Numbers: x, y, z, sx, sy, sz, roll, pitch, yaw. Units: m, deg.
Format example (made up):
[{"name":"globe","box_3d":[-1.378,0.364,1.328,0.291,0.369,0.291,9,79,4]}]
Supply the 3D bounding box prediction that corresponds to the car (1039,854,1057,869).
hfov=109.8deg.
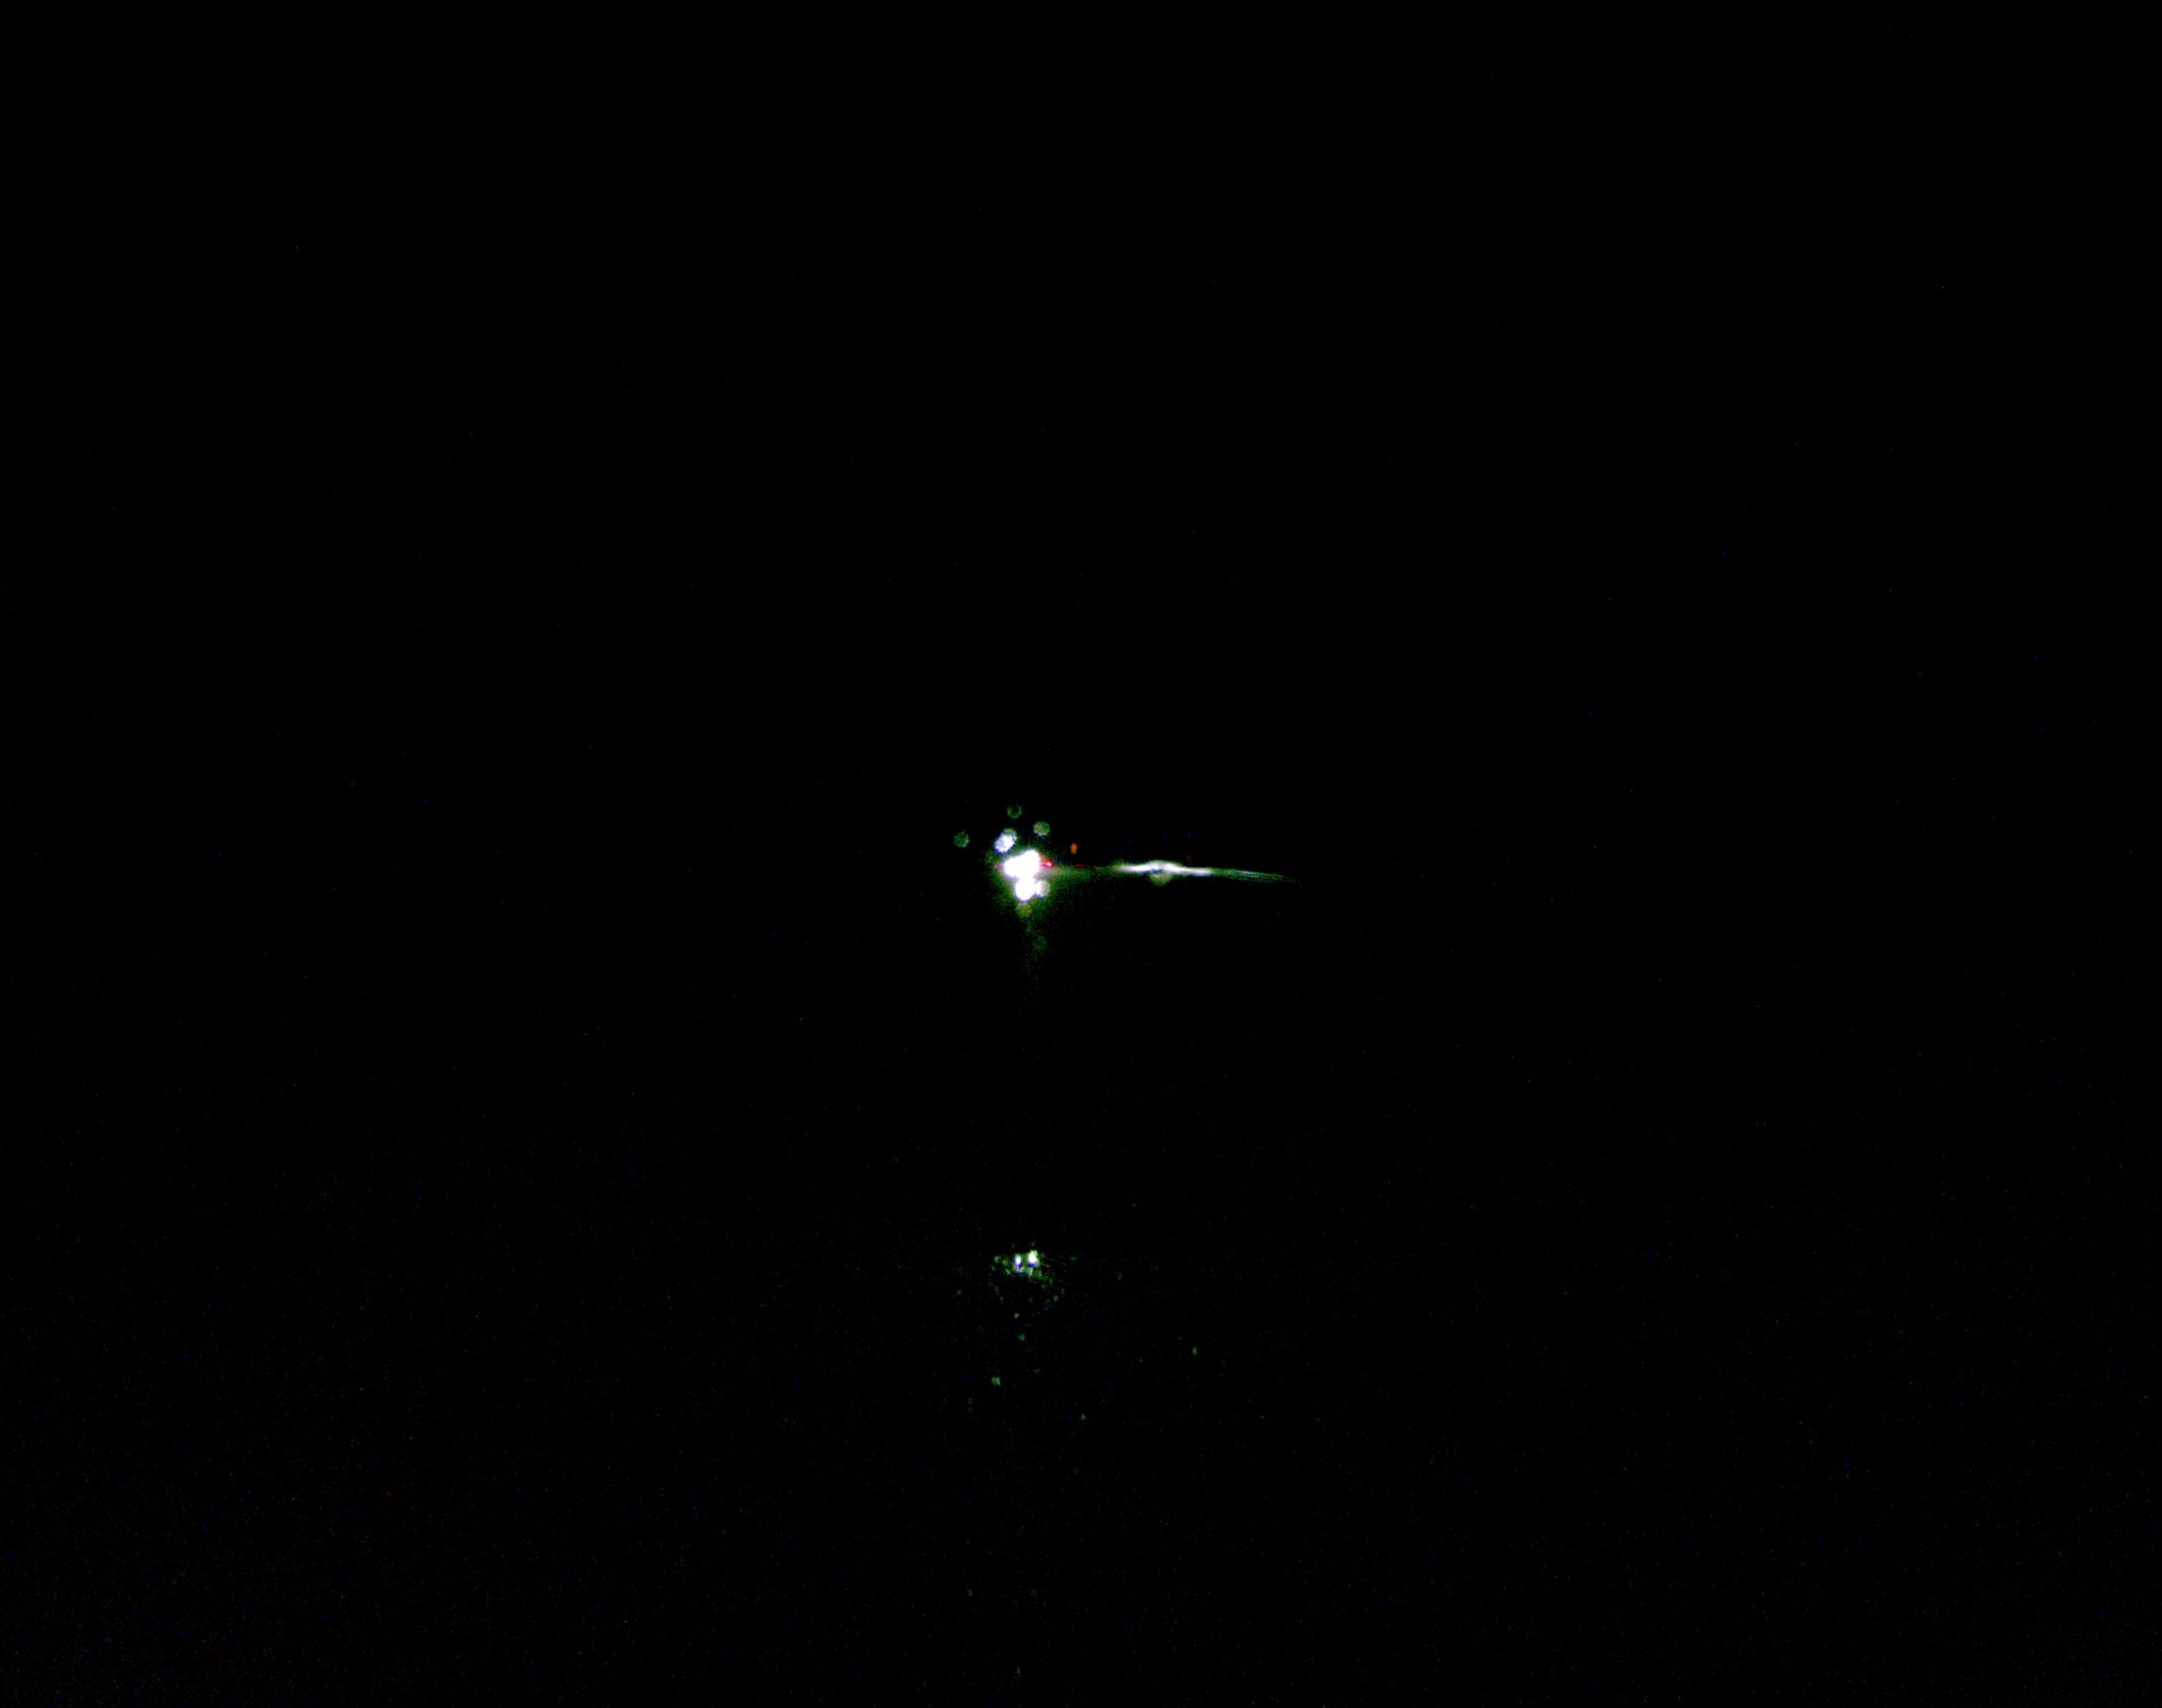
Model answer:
[{"name":"car","box_3d":[-4.211,0.959,96.537,1.999,1.683,4.695,-1,1,-5]}]

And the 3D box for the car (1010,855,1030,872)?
[{"name":"car","box_3d":[-6.782,1.061,84.506,1.999,1.723,3.999,4,-1,-3]}]
